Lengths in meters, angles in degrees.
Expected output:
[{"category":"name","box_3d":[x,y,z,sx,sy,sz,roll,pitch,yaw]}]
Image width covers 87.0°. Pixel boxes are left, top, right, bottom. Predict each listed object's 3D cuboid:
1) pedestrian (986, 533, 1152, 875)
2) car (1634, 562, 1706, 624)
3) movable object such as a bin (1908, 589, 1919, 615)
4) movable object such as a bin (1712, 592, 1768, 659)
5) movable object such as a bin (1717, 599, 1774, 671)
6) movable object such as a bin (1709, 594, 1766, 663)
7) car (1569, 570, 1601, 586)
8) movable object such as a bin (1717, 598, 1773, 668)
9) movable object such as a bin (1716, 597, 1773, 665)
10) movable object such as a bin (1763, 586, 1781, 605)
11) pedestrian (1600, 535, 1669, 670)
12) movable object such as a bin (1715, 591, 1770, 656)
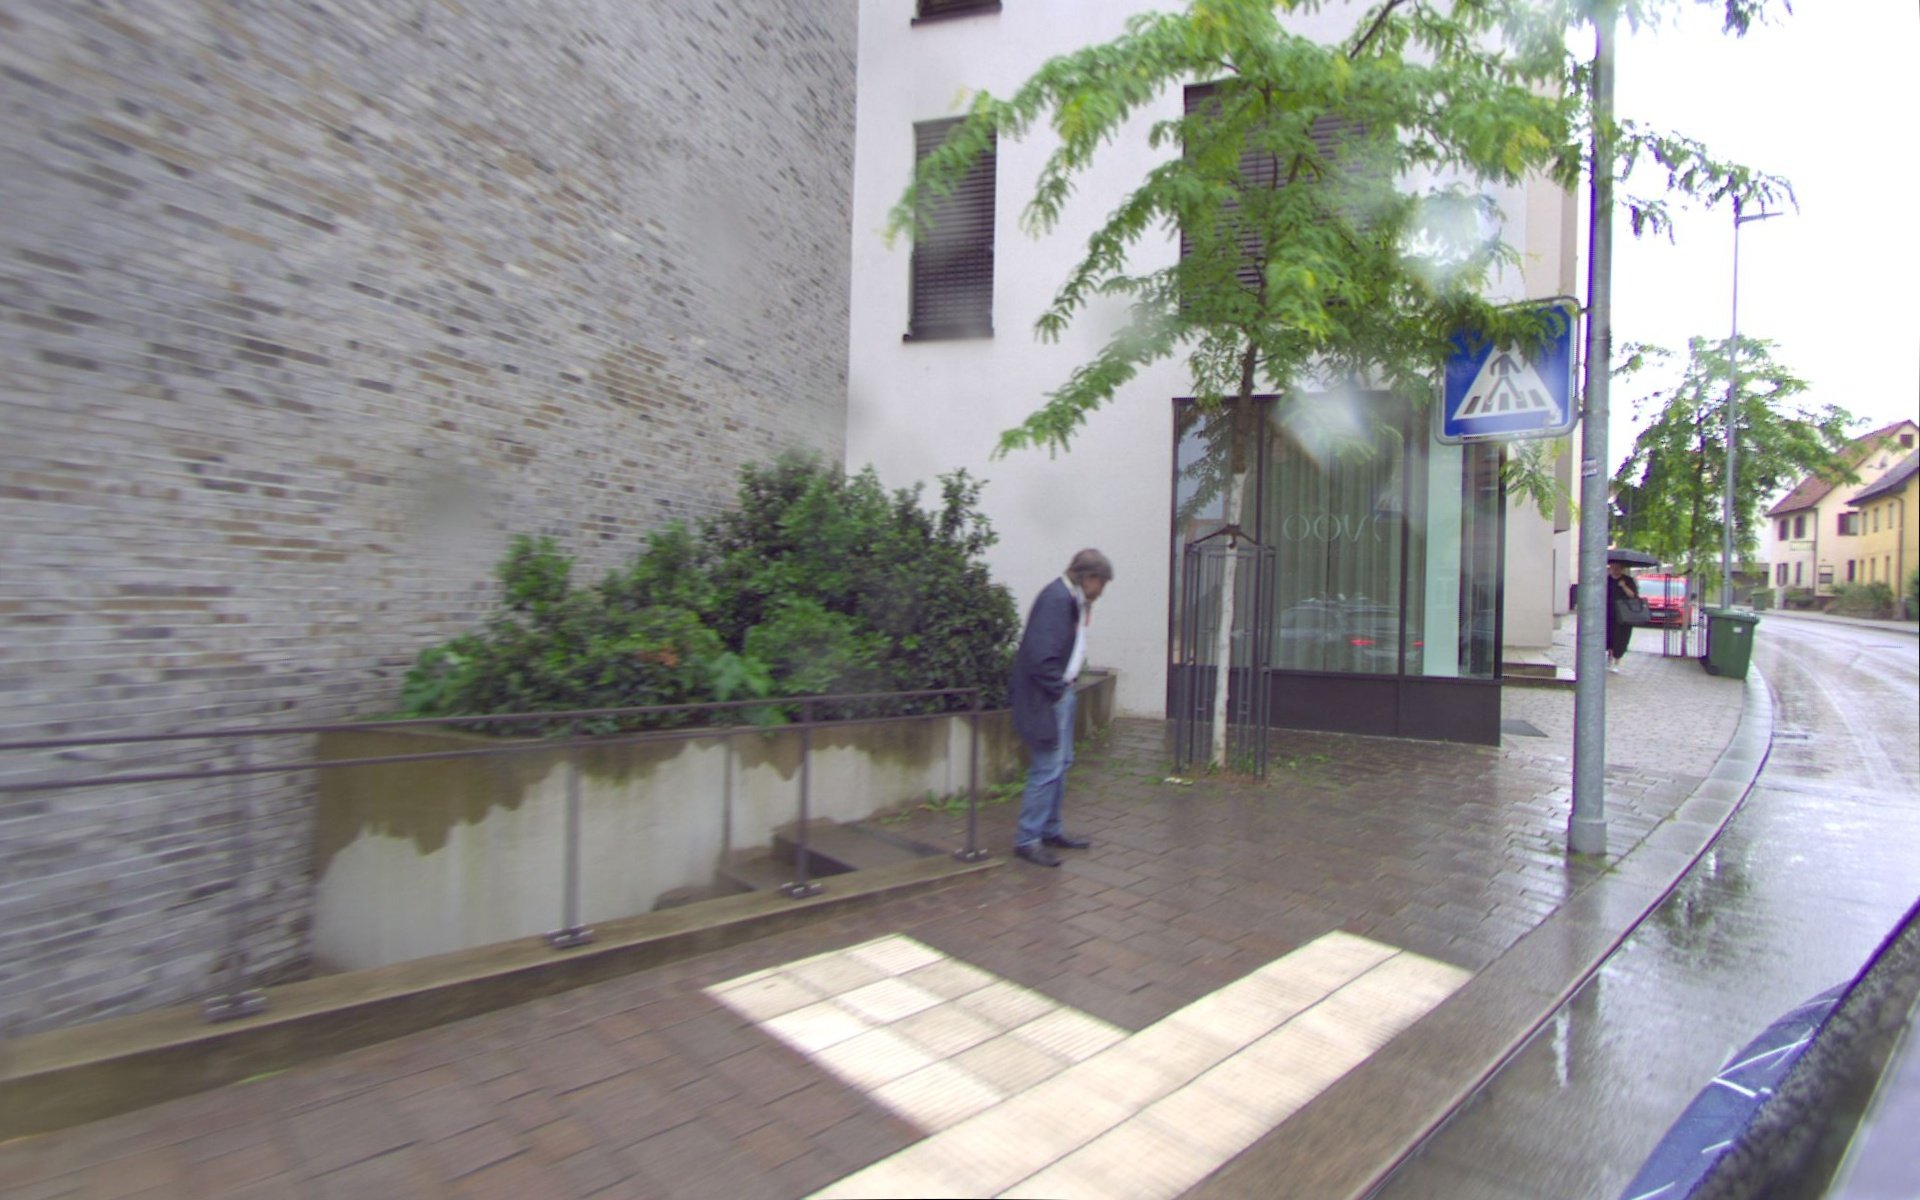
[{"category":"pedestrian","box_3d":[0.577,0.482,5.273,0.580,1.625,0.696,3,2,31]},{"category":"car","box_3d":[24.429,-0.328,34.946,1.829,1.929,4.549,4,4,34]},{"category":"movable object such as a bin","box_3d":[42.235,0.104,44.466,0.656,1.122,0.712,5,4,35]},{"category":"movable object such as a bin","box_3d":[14.607,0.468,18.949,0.751,1.185,0.621,3,3,42]},{"category":"movable object such as a bin","box_3d":[12.895,0.563,16.619,0.722,1.132,0.568,1,1,39]},{"category":"movable object such as a bin","box_3d":[14.183,0.499,18.456,0.751,1.185,0.621,3,3,42]},{"category":"car","box_3d":[63.731,-2.257,103.233,1.974,1.463,3.977,0,2,19]},{"category":"movable object such as a bin","box_3d":[13.258,0.544,17.101,0.722,1.132,0.568,1,1,39]},{"category":"movable object such as a bin","box_3d":[13.636,0.526,17.590,0.760,1.132,0.615,1,1,39]},{"category":"movable object such as a bin","box_3d":[46.334,-0.270,57.757,0.709,1.072,0.570,1,2,29]},{"category":"pedestrian","box_3d":[10.598,0.016,15.943,0.863,2.038,1.070,1,2,33]},{"category":"movable object such as a bin","box_3d":[15.035,0.441,19.447,0.751,1.185,0.621,3,3,42]}]
